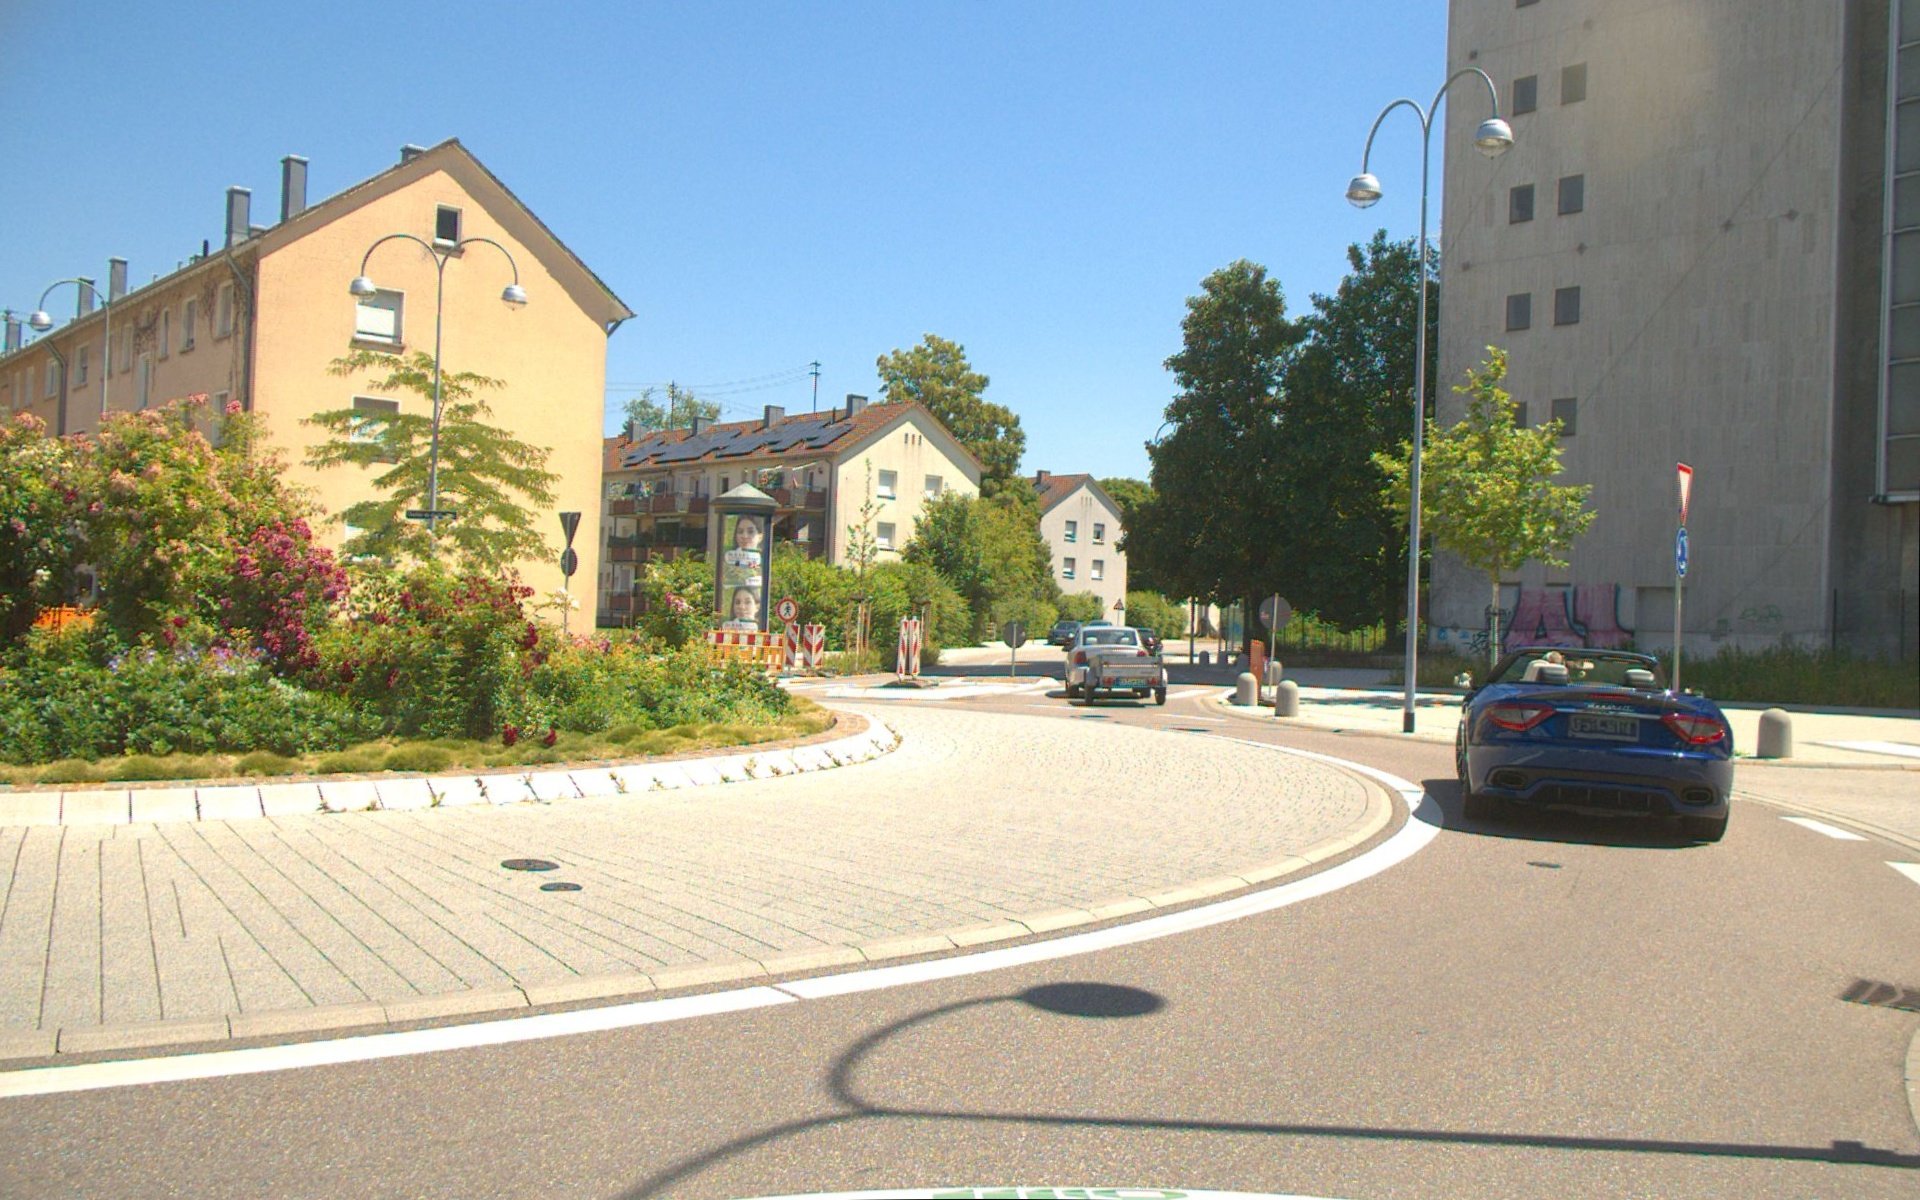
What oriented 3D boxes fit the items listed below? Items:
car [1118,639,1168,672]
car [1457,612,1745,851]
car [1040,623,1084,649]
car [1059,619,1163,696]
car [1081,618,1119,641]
[{"bbox_3d":[8.551,2.564,76.987,1.702,1.462,3.713,0,0,16],"label":"car"},{"bbox_3d":[5.296,0.979,13.545,1.833,1.557,4.504,1,-2,23],"label":"car"},{"bbox_3d":[5.892,2.045,95.436,1.702,1.462,3.712,0,0,17],"label":"car"},{"bbox_3d":[3.026,1.128,33.786,1.703,1.462,3.709,0,0,-1],"label":"car"},{"bbox_3d":[9.124,1.915,107.457,1.702,1.462,3.712,0,0,17],"label":"car"}]
